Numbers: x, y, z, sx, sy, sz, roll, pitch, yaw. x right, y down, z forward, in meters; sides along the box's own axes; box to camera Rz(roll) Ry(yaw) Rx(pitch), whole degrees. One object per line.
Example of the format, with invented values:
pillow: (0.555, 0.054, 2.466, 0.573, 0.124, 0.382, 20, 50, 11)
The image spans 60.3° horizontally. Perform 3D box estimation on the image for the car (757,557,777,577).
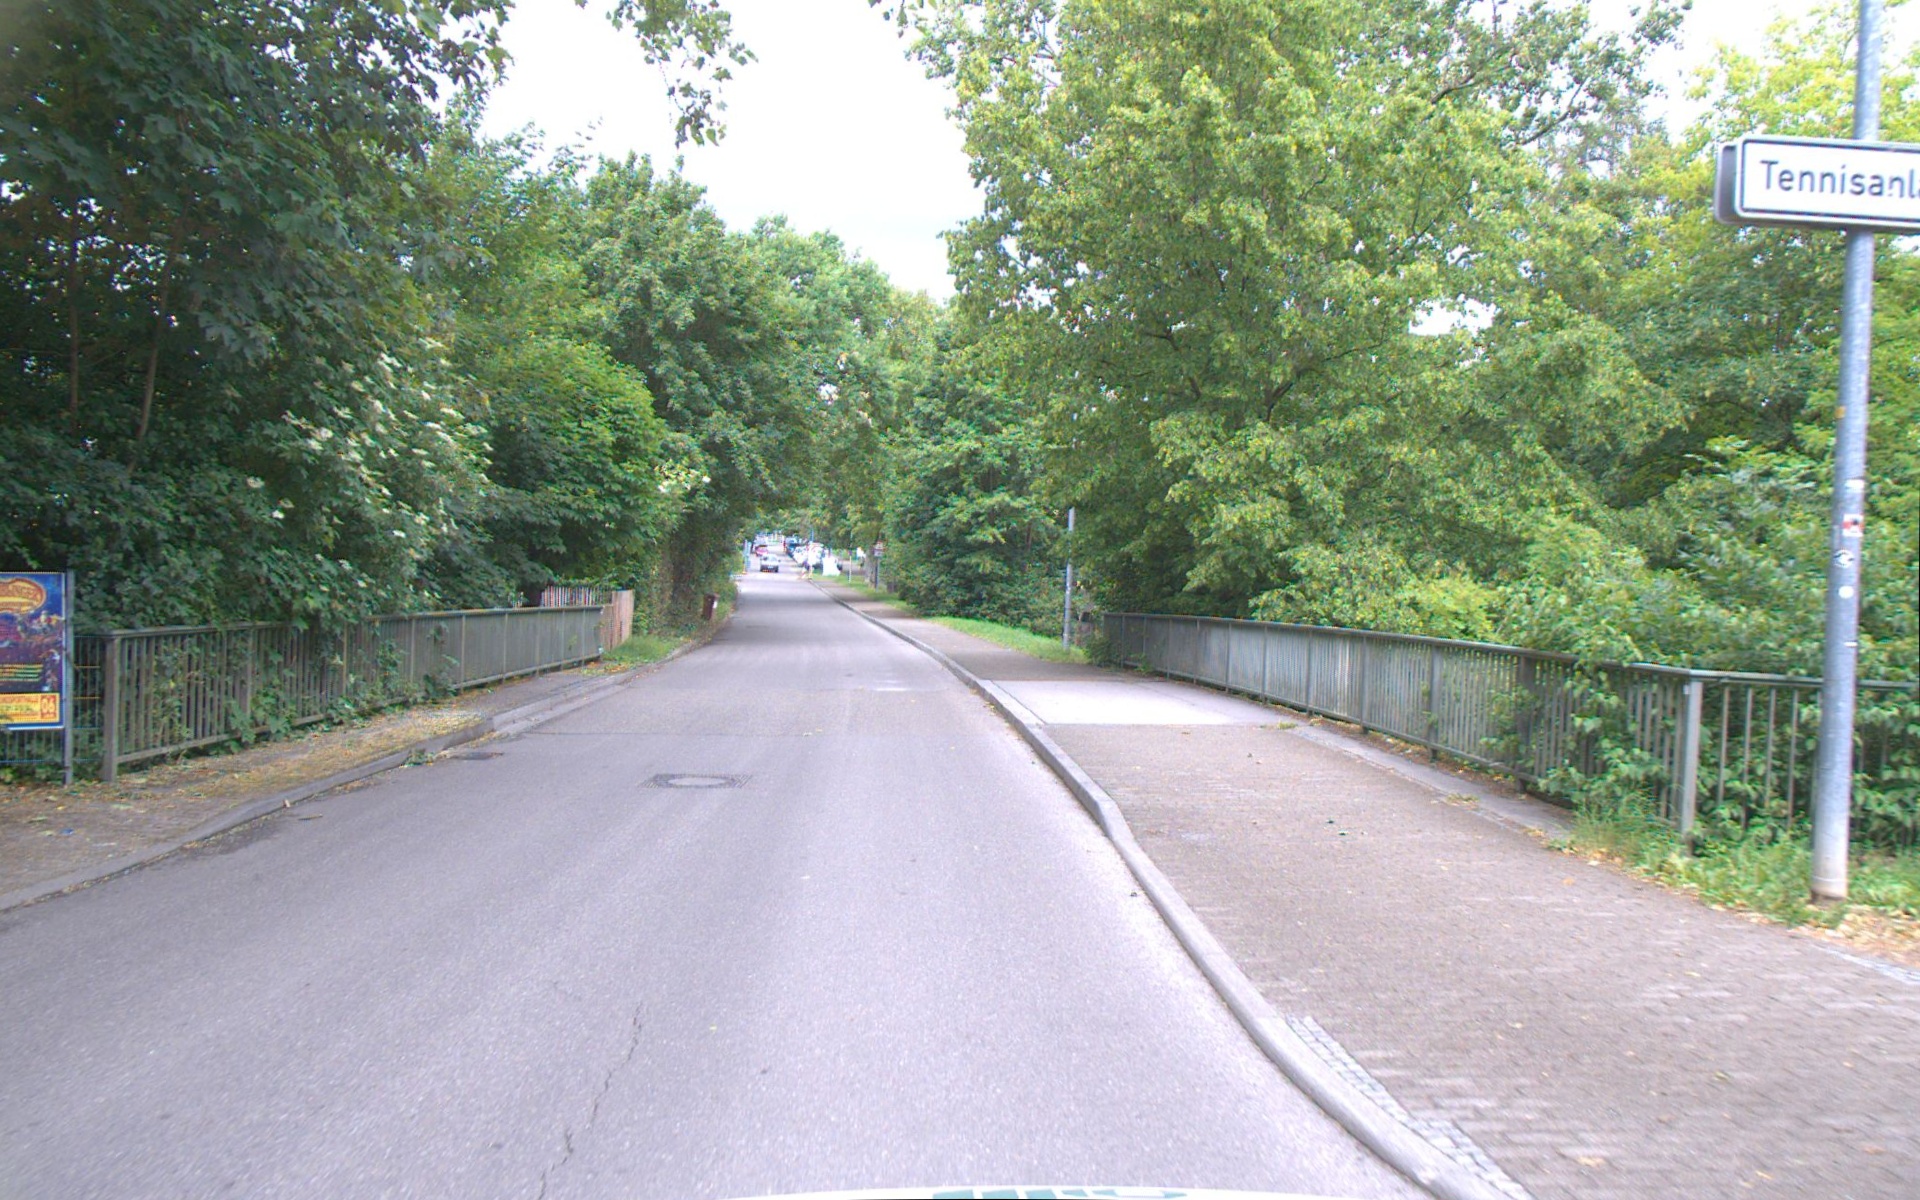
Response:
car: (-19.559, -3.325, 167.744, 1.955, 1.803, 3.995, 2, 0, -6)

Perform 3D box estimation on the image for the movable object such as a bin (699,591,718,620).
movable object such as a bin: (-8.398, 0.183, 55.240, 0.579, 0.974, 0.469, 2, -1, -6)
